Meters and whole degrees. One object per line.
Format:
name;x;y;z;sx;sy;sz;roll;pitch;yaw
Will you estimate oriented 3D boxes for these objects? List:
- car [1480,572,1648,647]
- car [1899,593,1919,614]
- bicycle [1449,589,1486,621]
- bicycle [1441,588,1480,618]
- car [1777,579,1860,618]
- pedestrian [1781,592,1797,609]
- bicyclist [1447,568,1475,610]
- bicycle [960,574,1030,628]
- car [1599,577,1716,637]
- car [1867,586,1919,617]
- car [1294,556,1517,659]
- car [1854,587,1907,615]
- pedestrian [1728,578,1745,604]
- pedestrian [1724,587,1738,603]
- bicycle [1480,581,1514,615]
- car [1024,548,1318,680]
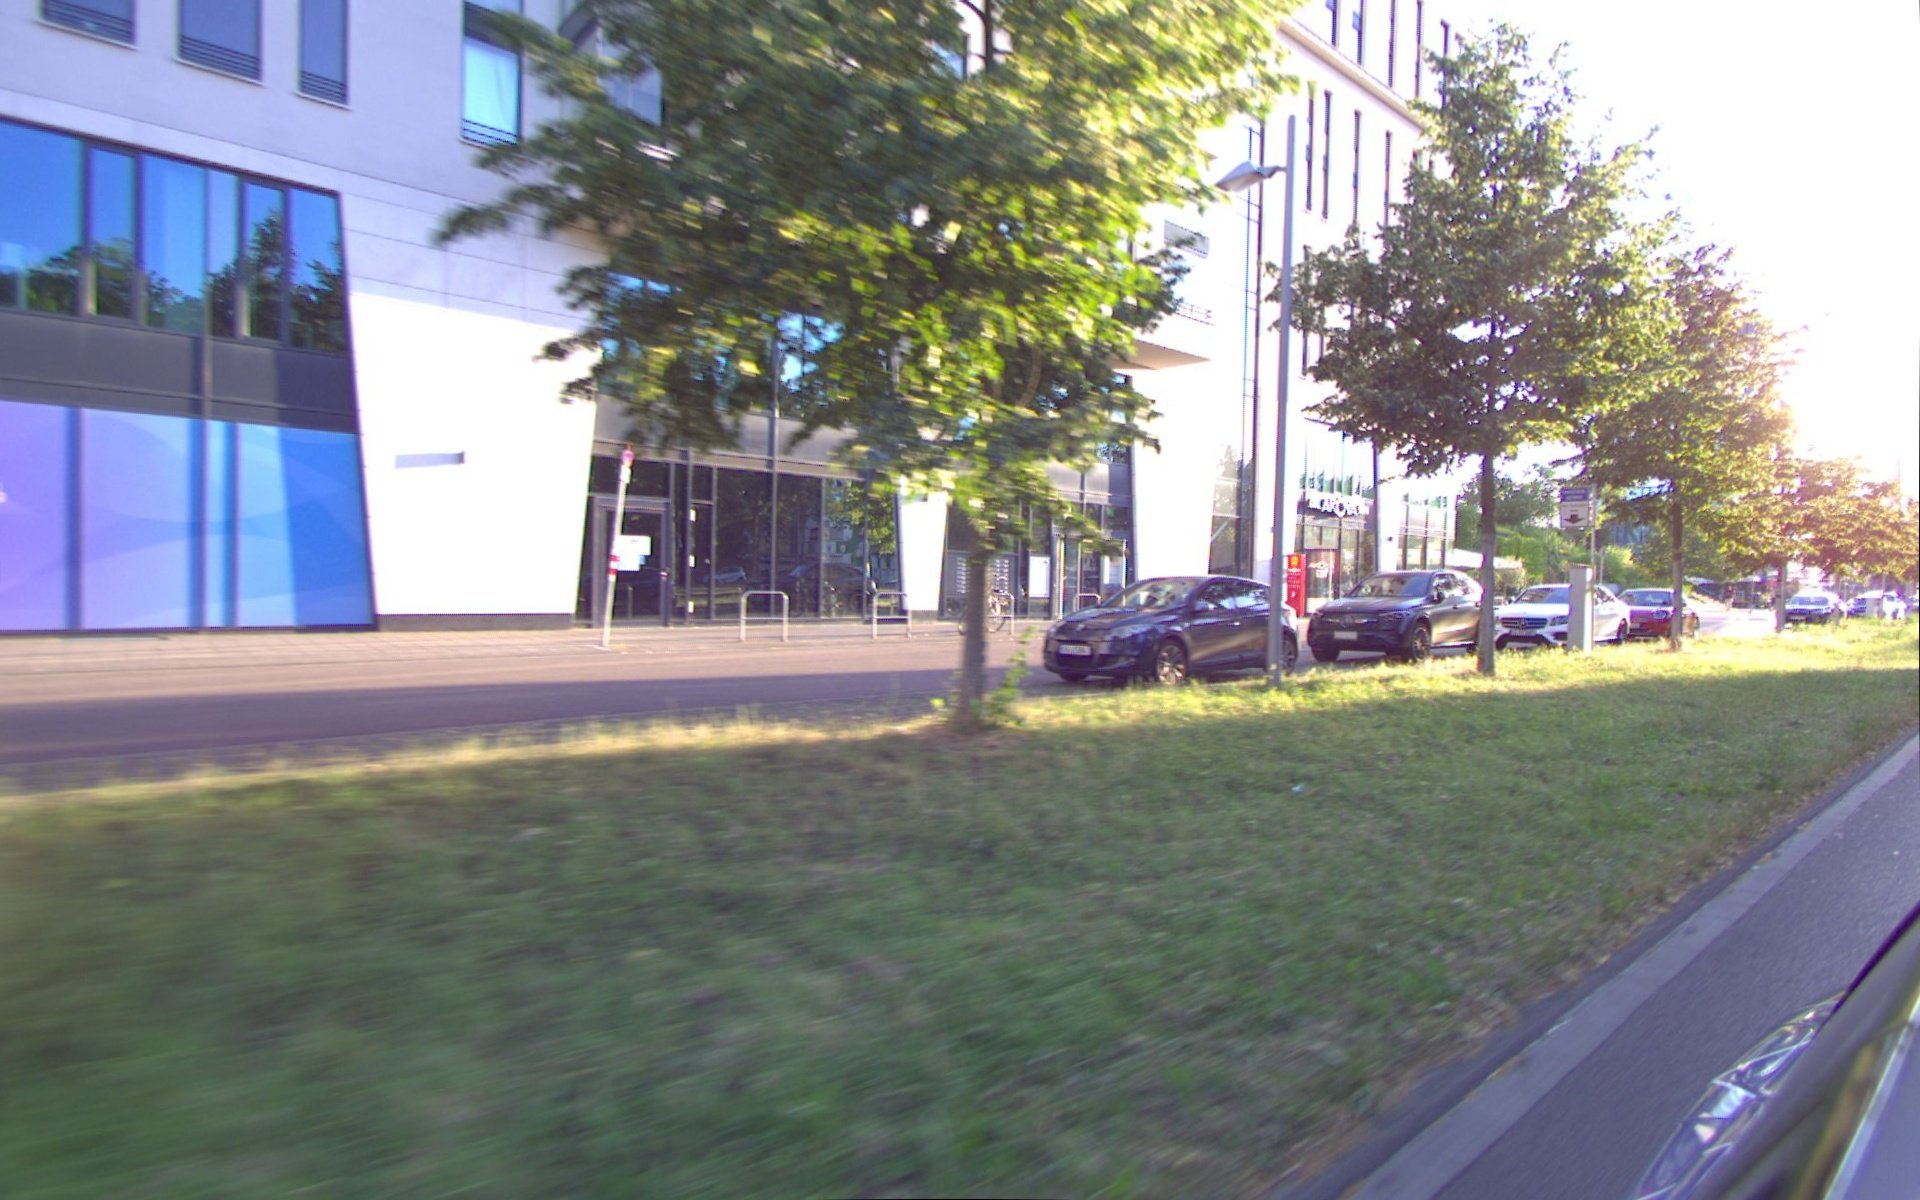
car;13.864;0.188;23.101;4.923;1.519;1.924;0;1;-42
car;69.752;0.266;73.427;5.318;1.519;1.923;0;1;-42
bicycle;18.669;0.169;37.230;1.837;1.142;0.547;0;3;-43
bicycle;19.204;0.103;38.819;1.878;1.132;0.544;0;1;-38
car;36.641;-0.062;43.171;4.288;1.519;1.814;0;2;-38
pedestrian;67.771;0.035;82.692;0.671;1.306;0.783;1;3;-34
bicyclist;19.212;-0.424;38.813;1.001;1.588;0.546;0;1;-38
bicycle;0.743;0.009;21.194;0.533;1.073;1.587;2;2;43
car;19.351;0.158;28.029;3.891;1.519;1.811;0;1;-42
car;53.725;0.108;58.177;4.595;1.653;1.810;0;-2;-42
car;8.228;0.117;18.473;4.737;1.644;1.956;0;-1;-42
car;49.913;0.052;54.868;3.931;1.415;1.752;0;1;-42
pedestrian;52.147;-0.612;67.949;1.060;1.675;0.696;1;1;-42
pedestrian;64.578;-0.440;84.732;0.757;1.281;0.744;1;1;-41
bicycle;20.646;-0.084;38.896;1.643;1.246;0.617;0;2;-43
car;2.950;0.156;13.649;4.158;1.520;1.727;0;0;-41
